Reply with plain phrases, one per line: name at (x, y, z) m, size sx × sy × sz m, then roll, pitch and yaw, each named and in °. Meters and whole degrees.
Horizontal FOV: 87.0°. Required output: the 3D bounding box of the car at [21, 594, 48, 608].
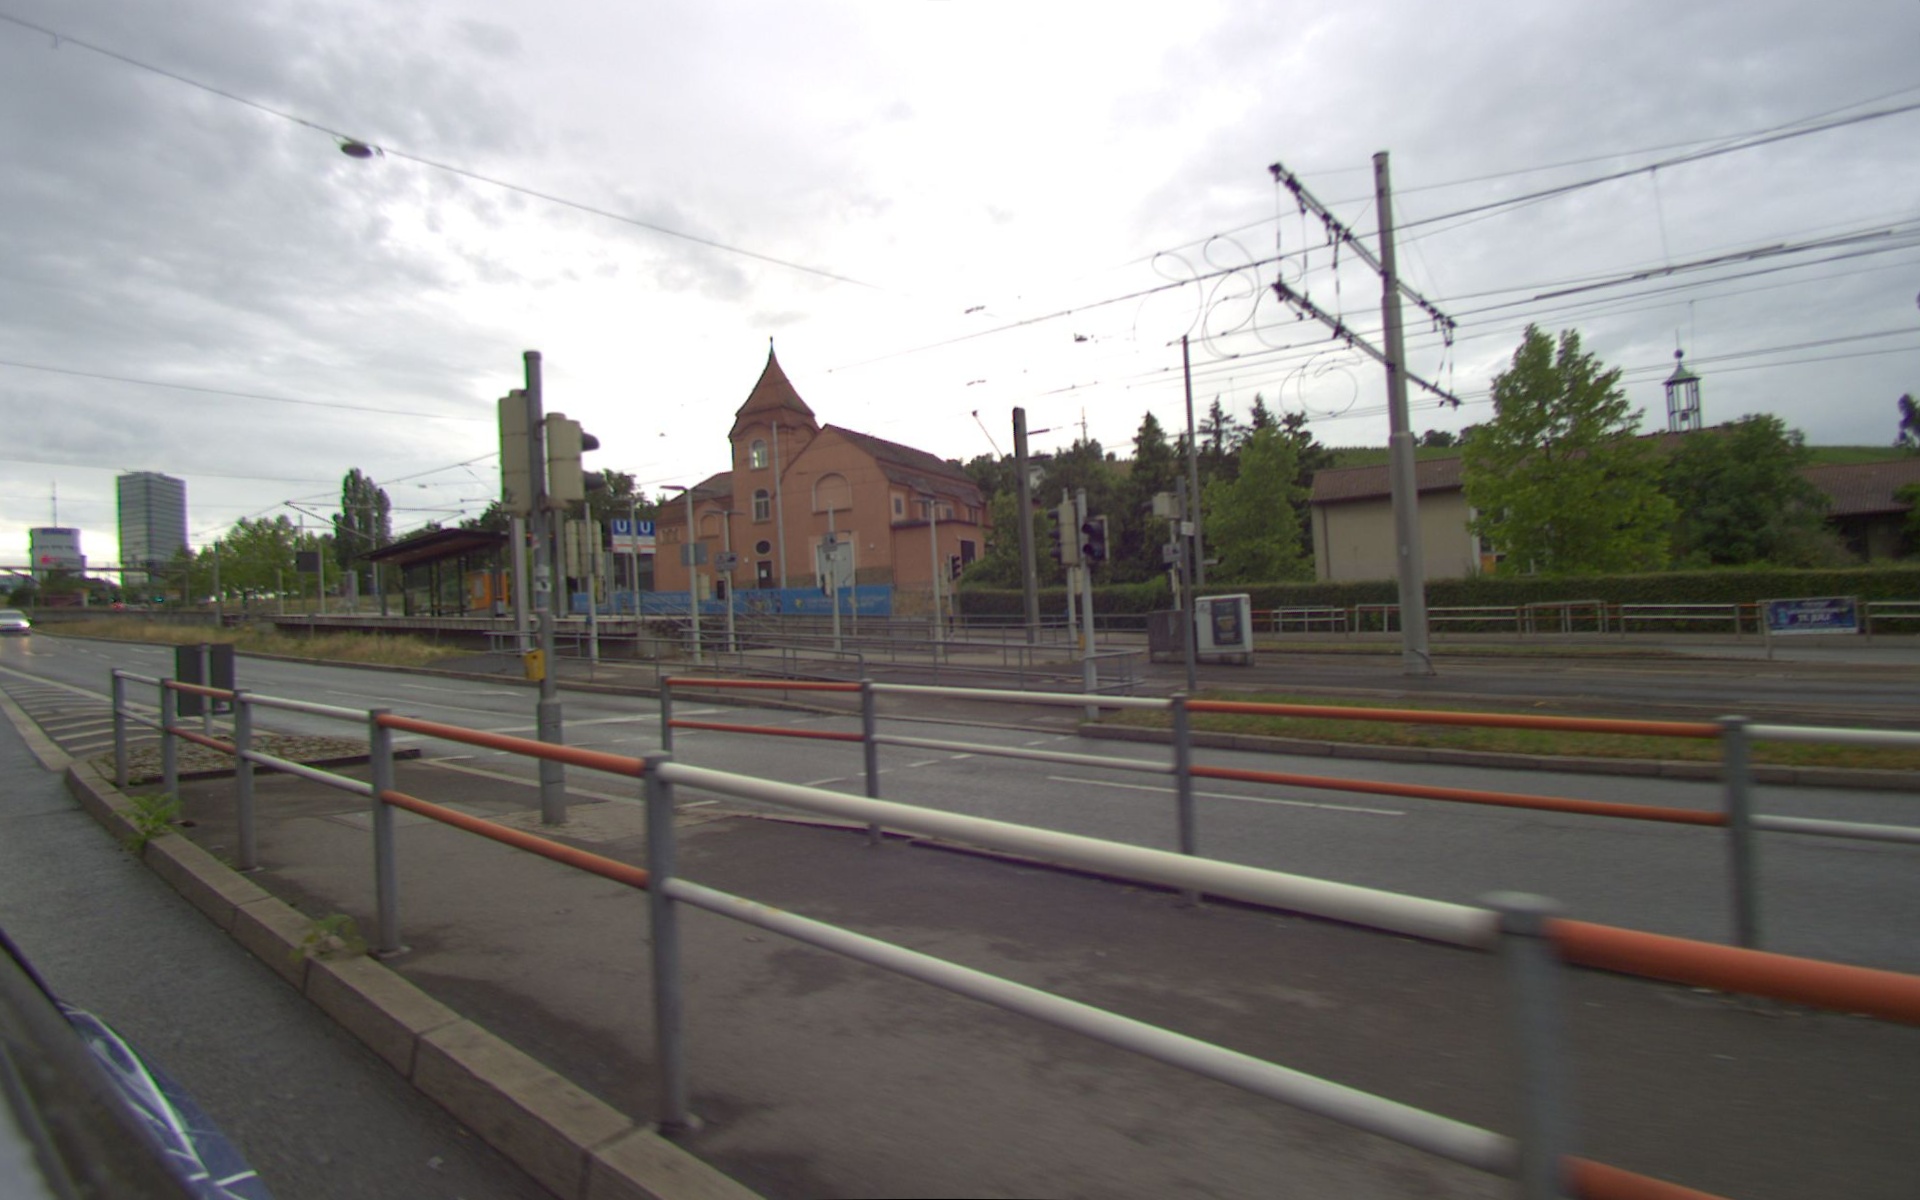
car at (-102.332, 0.146, 111.911) m, size 3.999 × 1.482 × 1.778 m, roll -2°, pitch -1°, yaw 42°

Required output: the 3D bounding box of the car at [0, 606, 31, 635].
car at (-54.750, 1.176, 58.251) m, size 1.714 × 1.599 × 4.002 m, roll 0°, pitch 0°, yaw -45°
